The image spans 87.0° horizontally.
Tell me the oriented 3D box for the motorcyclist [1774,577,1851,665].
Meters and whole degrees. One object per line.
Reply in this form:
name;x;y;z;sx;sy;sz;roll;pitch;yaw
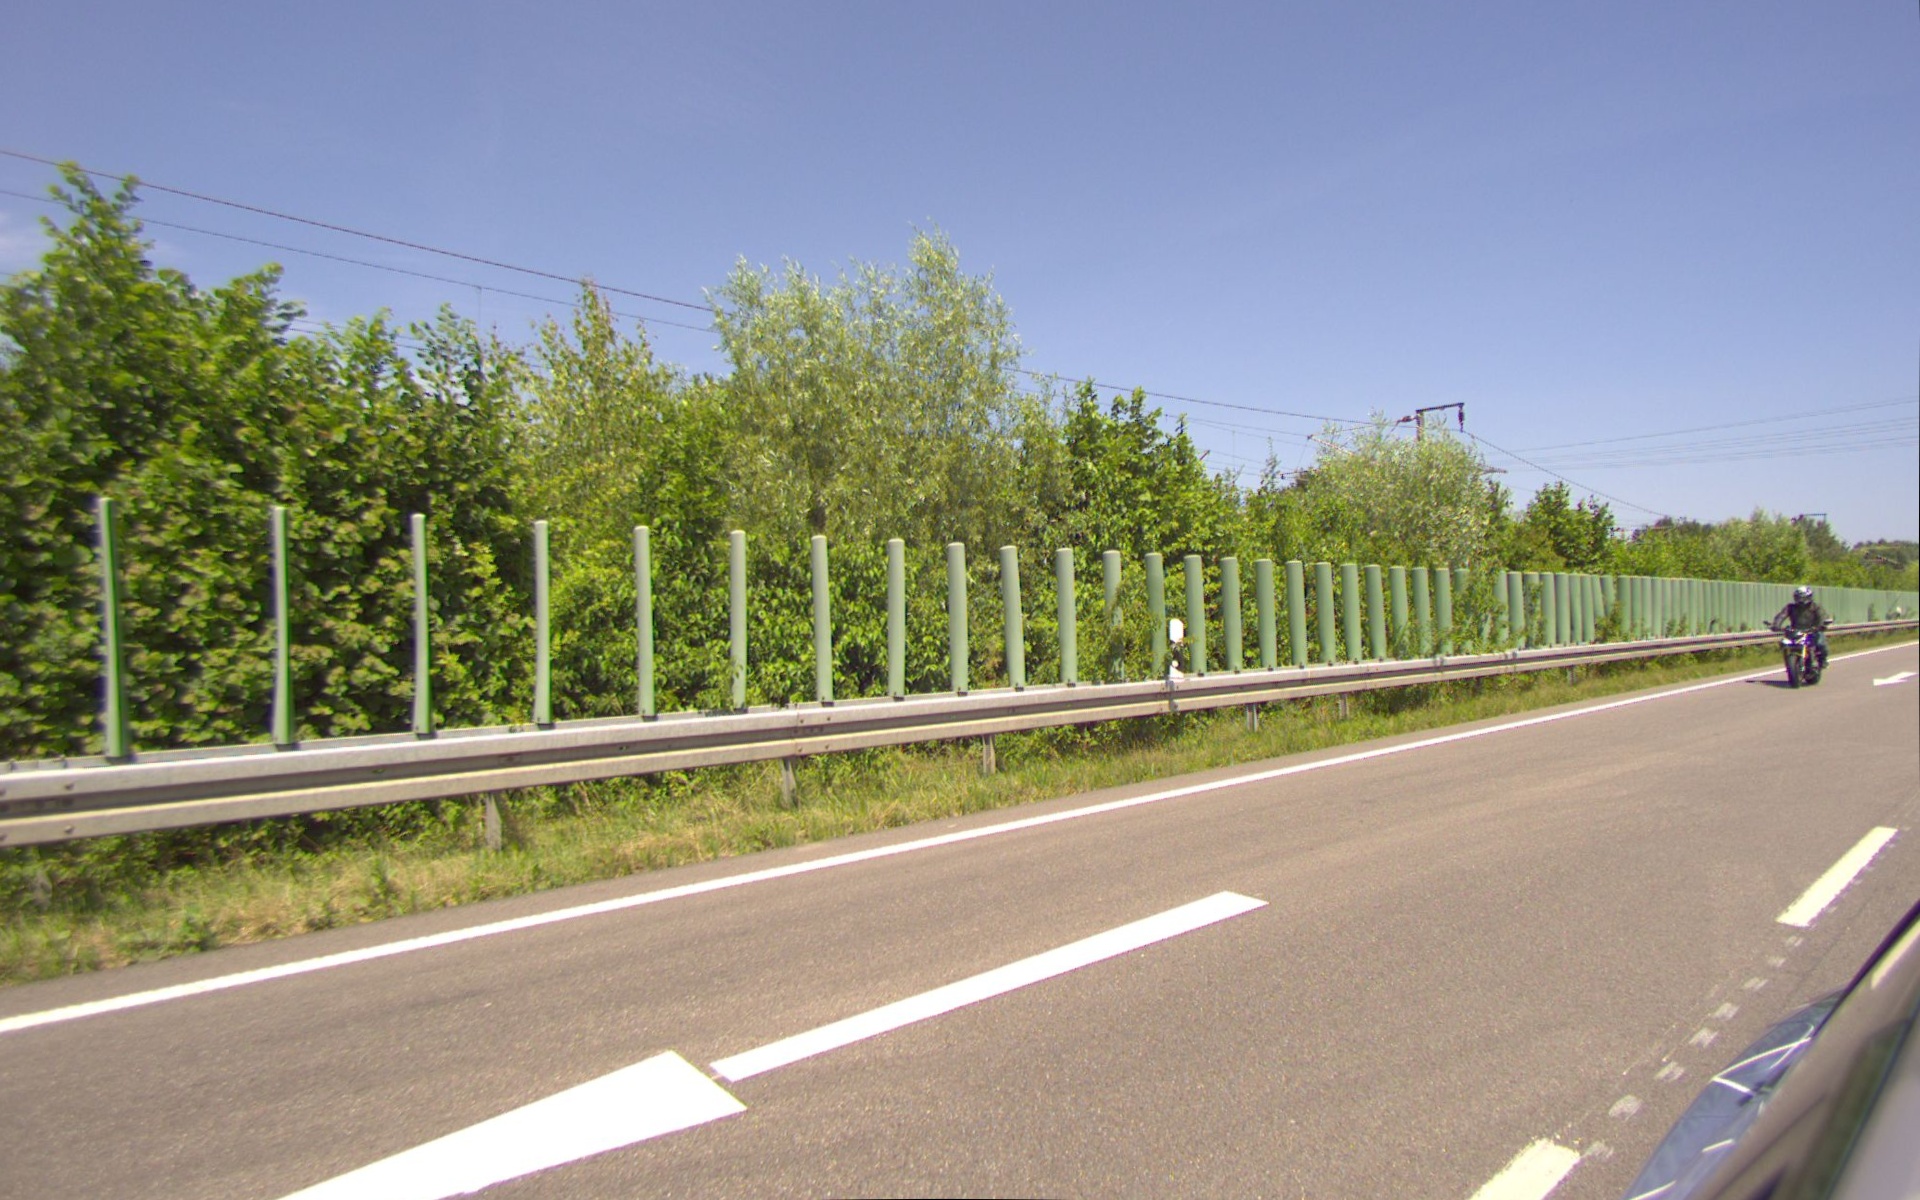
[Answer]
motorcyclist;14.984;0.353;17.791;0.984;1.495;0.891;0;0;-40

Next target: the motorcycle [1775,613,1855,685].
motorcycle;14.915;0.814;17.635;1.868;1.172;0.791;0;-1;-41
